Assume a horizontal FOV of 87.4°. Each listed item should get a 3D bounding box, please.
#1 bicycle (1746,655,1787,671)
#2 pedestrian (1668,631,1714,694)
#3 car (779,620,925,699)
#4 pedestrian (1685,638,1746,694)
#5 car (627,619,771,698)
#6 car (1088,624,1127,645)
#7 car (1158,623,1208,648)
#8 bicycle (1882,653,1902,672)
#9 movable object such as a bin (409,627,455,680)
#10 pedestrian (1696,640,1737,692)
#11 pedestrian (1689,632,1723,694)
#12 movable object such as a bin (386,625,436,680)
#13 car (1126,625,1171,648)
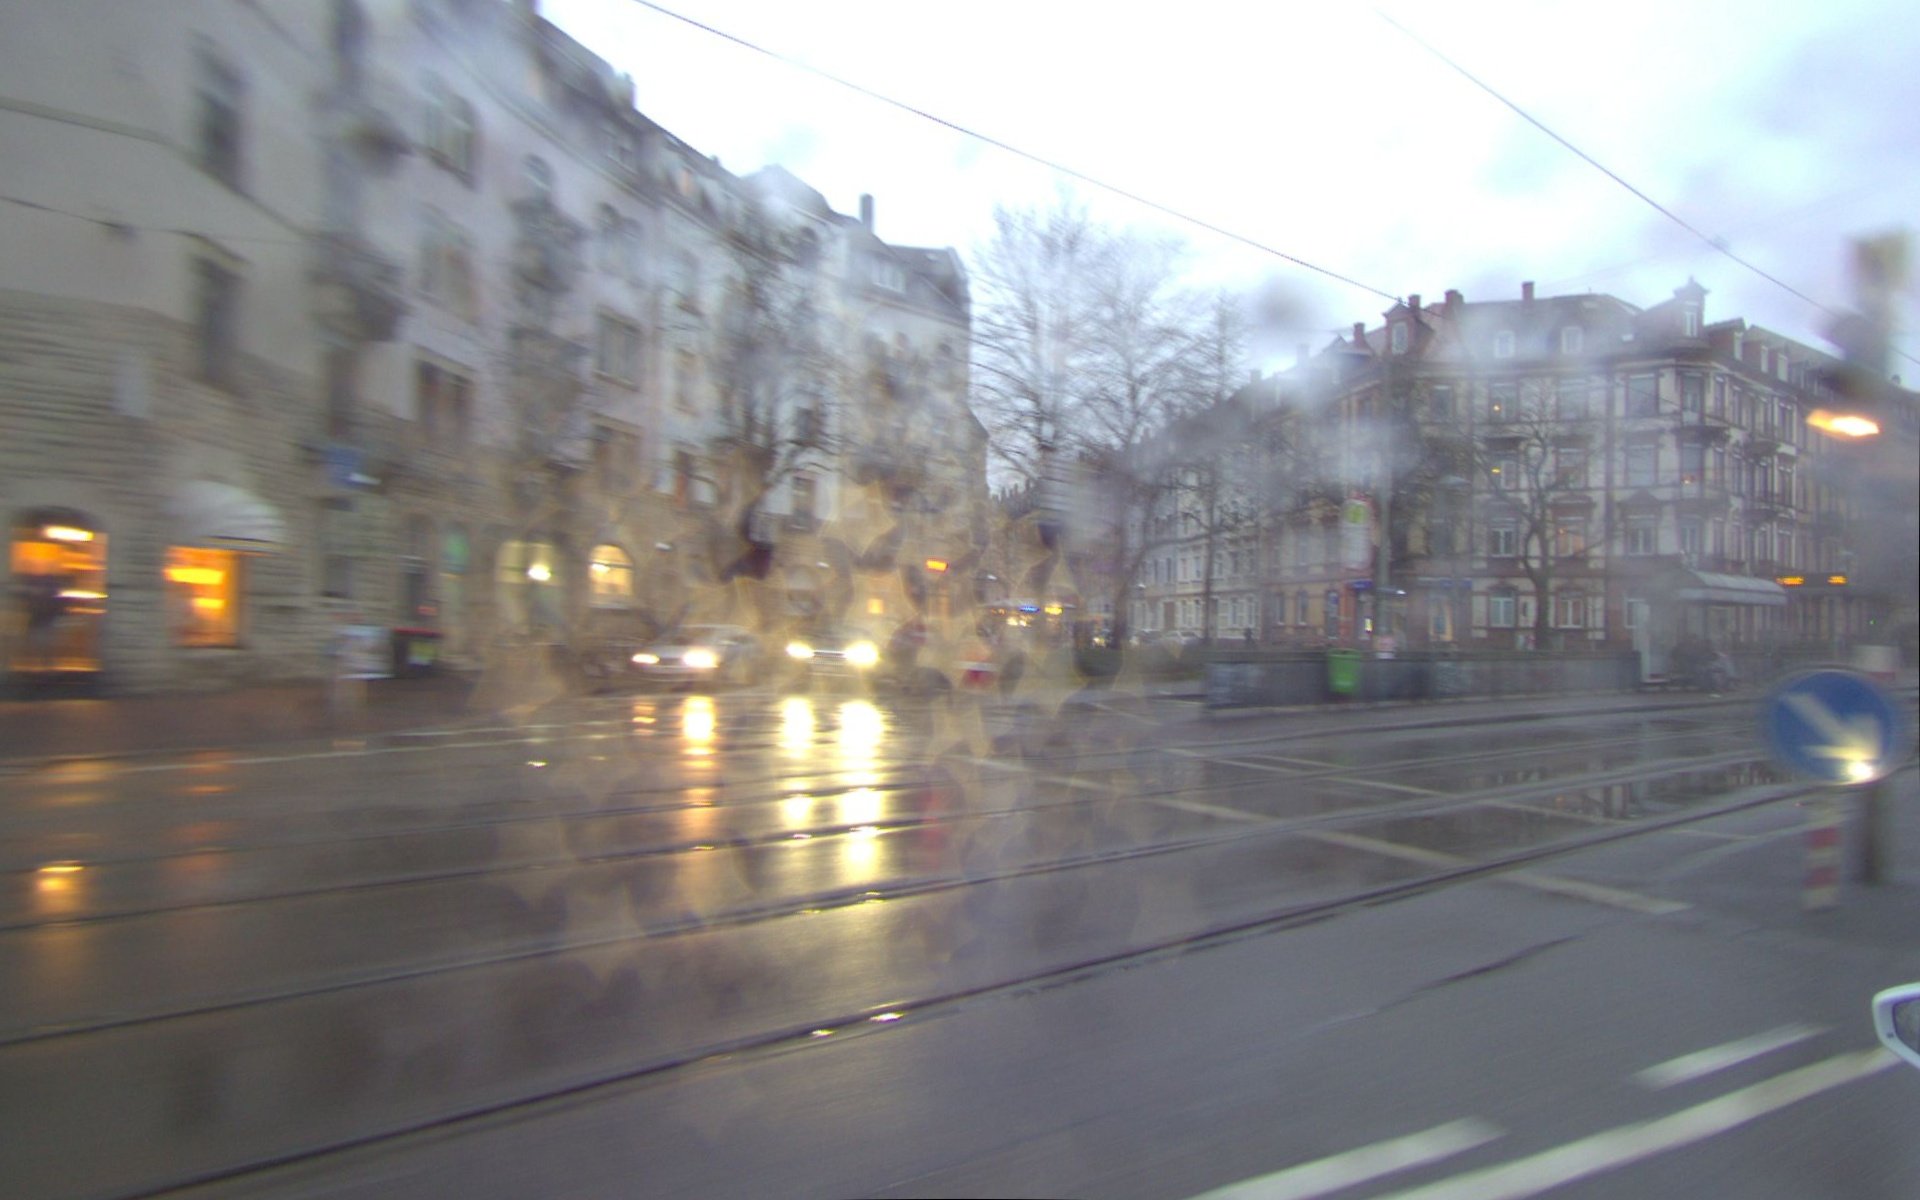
[{"bbox_3d":[41.325,3.248,51.465,1.775,0.769,0.401,1,-1,1],"label":"bicycle"},{"bbox_3d":[17.475,1.488,24.018,0.572,1.422,0.679,2,1,-35],"label":"pedestrian"},{"bbox_3d":[-2.458,1.334,24.139,1.898,1.604,4.345,3,0,17],"label":"car"},{"bbox_3d":[18.755,1.627,24.953,0.501,1.271,1.049,2,1,-34],"label":"pedestrian"},{"bbox_3d":[-5.873,1.266,23.069,1.581,1.492,3.828,3,1,12],"label":"car"},{"bbox_3d":[12.831,3.003,87.580,1.967,1.728,3.988,1,-2,-15],"label":"car"},{"bbox_3d":[16.191,2.588,73.073,1.967,1.728,3.988,1,-2,-15],"label":"car"},{"bbox_3d":[51.510,3.423,55.498,1.830,1.020,0.413,2,-2,-34],"label":"bicycle"},{"bbox_3d":[-11.821,1.194,22.489,0.640,1.150,0.649,1,-1,2],"label":"movable object such as a bin"},{"bbox_3d":[19.115,1.660,25.368,0.512,1.234,0.648,2,1,-35],"label":"pedestrian"},{"bbox_3d":[17.963,1.511,24.181,0.449,1.422,0.470,2,1,-35],"label":"pedestrian"},{"bbox_3d":[-11.895,1.133,21.770,0.678,1.150,0.649,1,-1,2],"label":"movable object such as a bin"},{"bbox_3d":[14.703,2.816,78.542,1.967,1.728,3.988,1,-2,-15],"label":"car"}]
